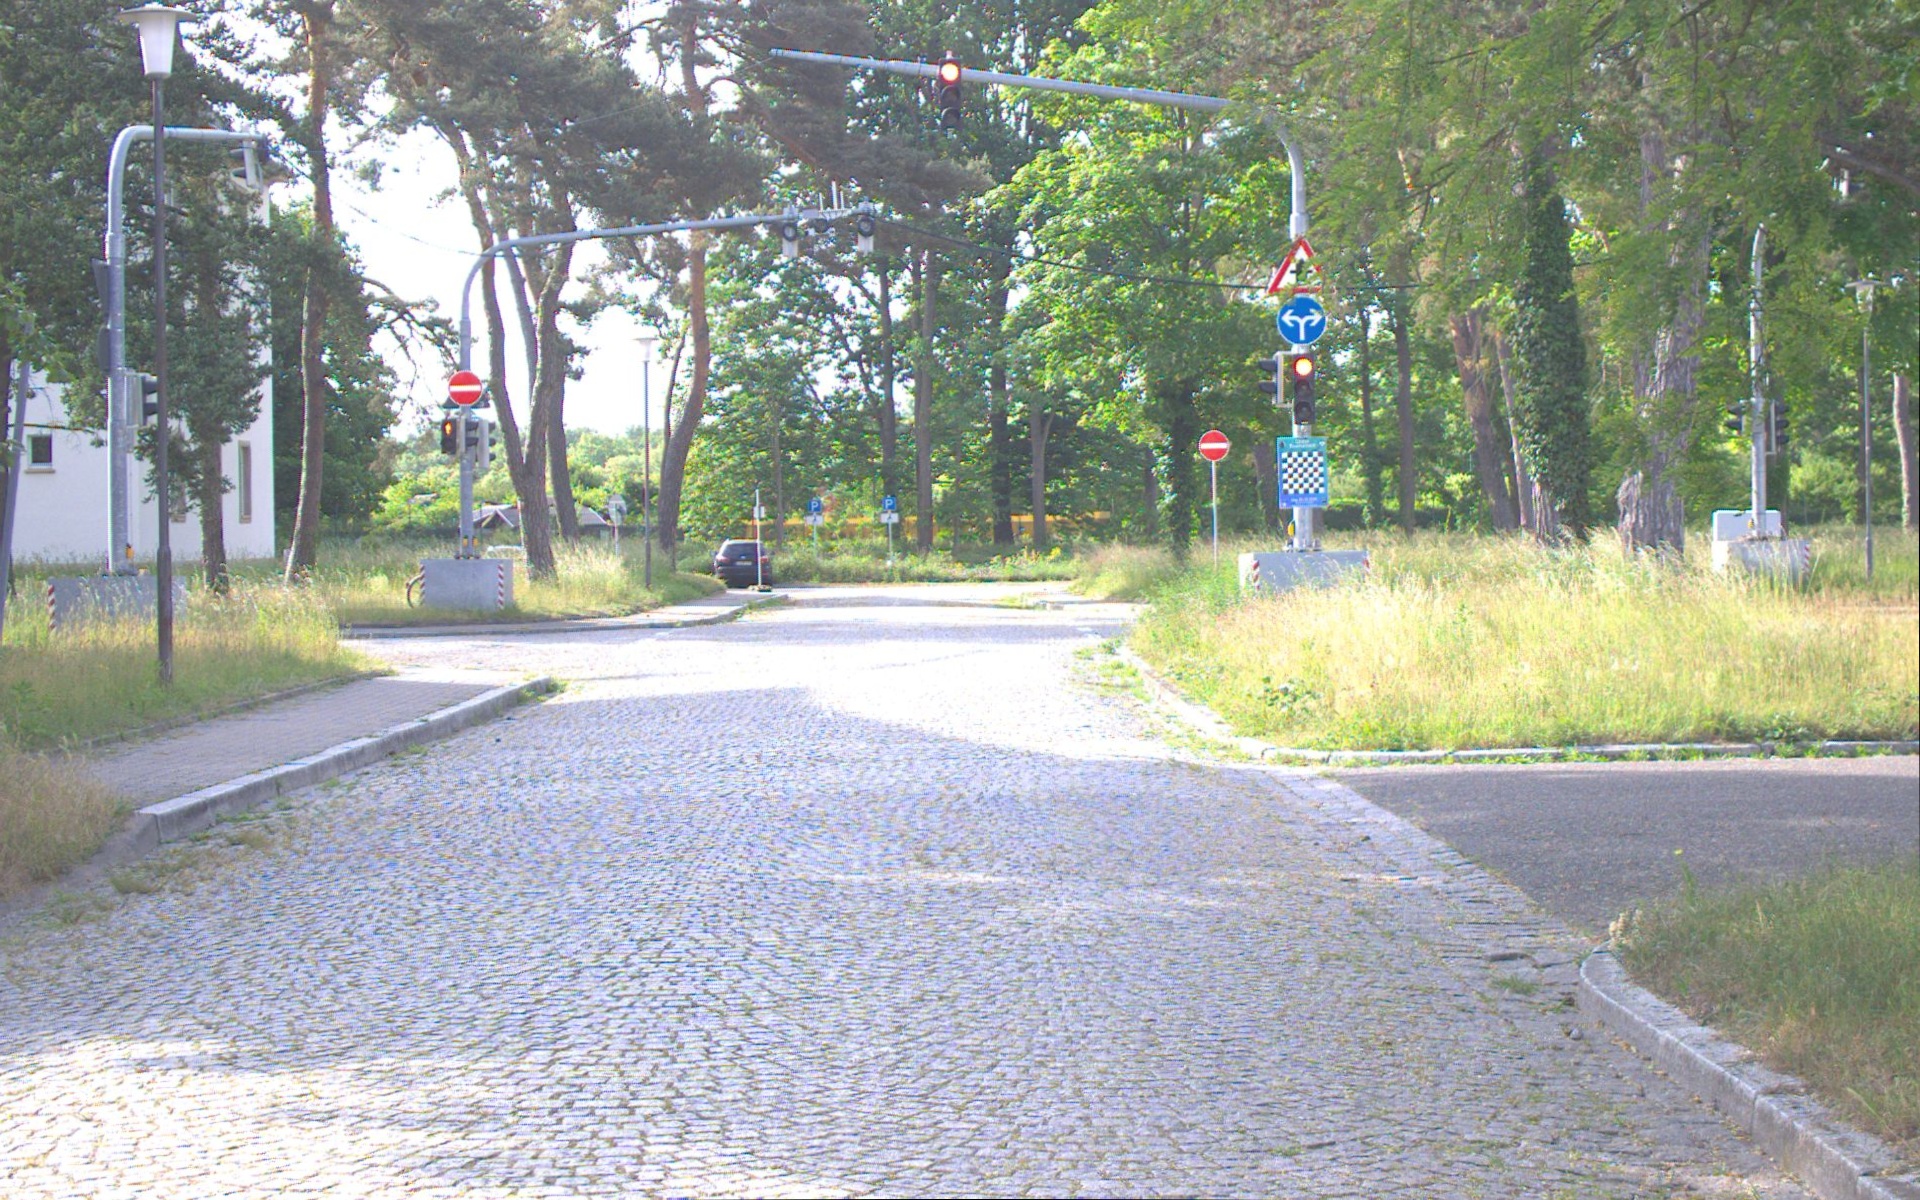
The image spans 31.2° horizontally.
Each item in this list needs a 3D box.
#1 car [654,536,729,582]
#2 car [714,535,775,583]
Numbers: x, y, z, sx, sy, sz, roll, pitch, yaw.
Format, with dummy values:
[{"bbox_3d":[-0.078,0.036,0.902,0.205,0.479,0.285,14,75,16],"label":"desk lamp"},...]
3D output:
[{"bbox_3d":[-8.904,-1.381,114.364,1.783,1.485,3.754,-1,1,7],"label":"car"},{"bbox_3d":[-6.848,-1.323,109.563,1.845,1.481,4.001,-1,1,-3],"label":"car"}]
